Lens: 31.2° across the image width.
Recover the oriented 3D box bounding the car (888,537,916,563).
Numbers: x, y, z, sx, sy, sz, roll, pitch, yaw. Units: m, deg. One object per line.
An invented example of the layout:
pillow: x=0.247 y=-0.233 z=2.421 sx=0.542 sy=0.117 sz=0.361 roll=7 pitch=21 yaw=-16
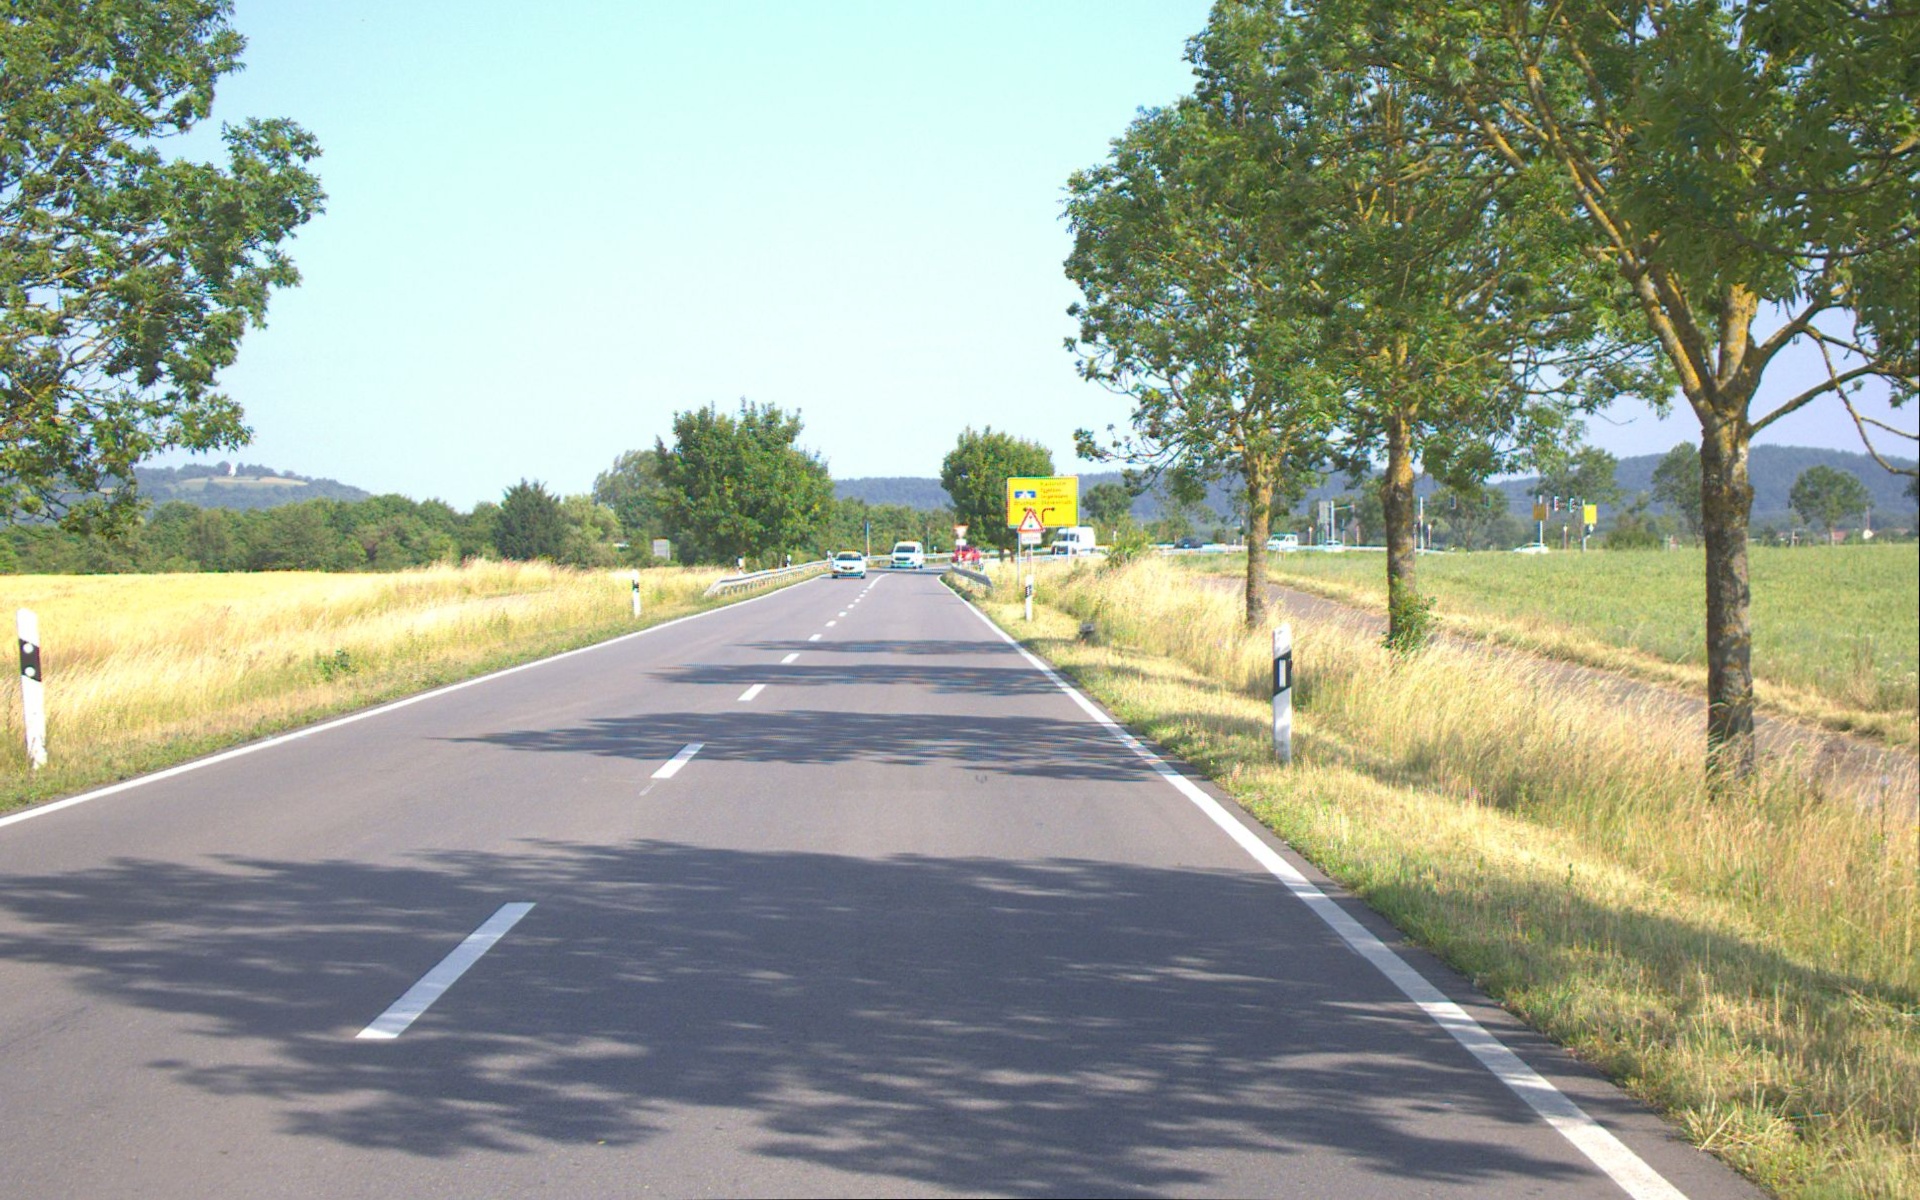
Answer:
car: x=-4.000 y=-3.450 z=237.650 sx=1.836 sy=1.780 sz=4.435 roll=0 pitch=1 yaw=0

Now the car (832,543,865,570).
car: x=-6.063 y=-2.368 z=187.526 sx=1.726 sy=1.432 sz=4.517 roll=0 pitch=1 yaw=-1
